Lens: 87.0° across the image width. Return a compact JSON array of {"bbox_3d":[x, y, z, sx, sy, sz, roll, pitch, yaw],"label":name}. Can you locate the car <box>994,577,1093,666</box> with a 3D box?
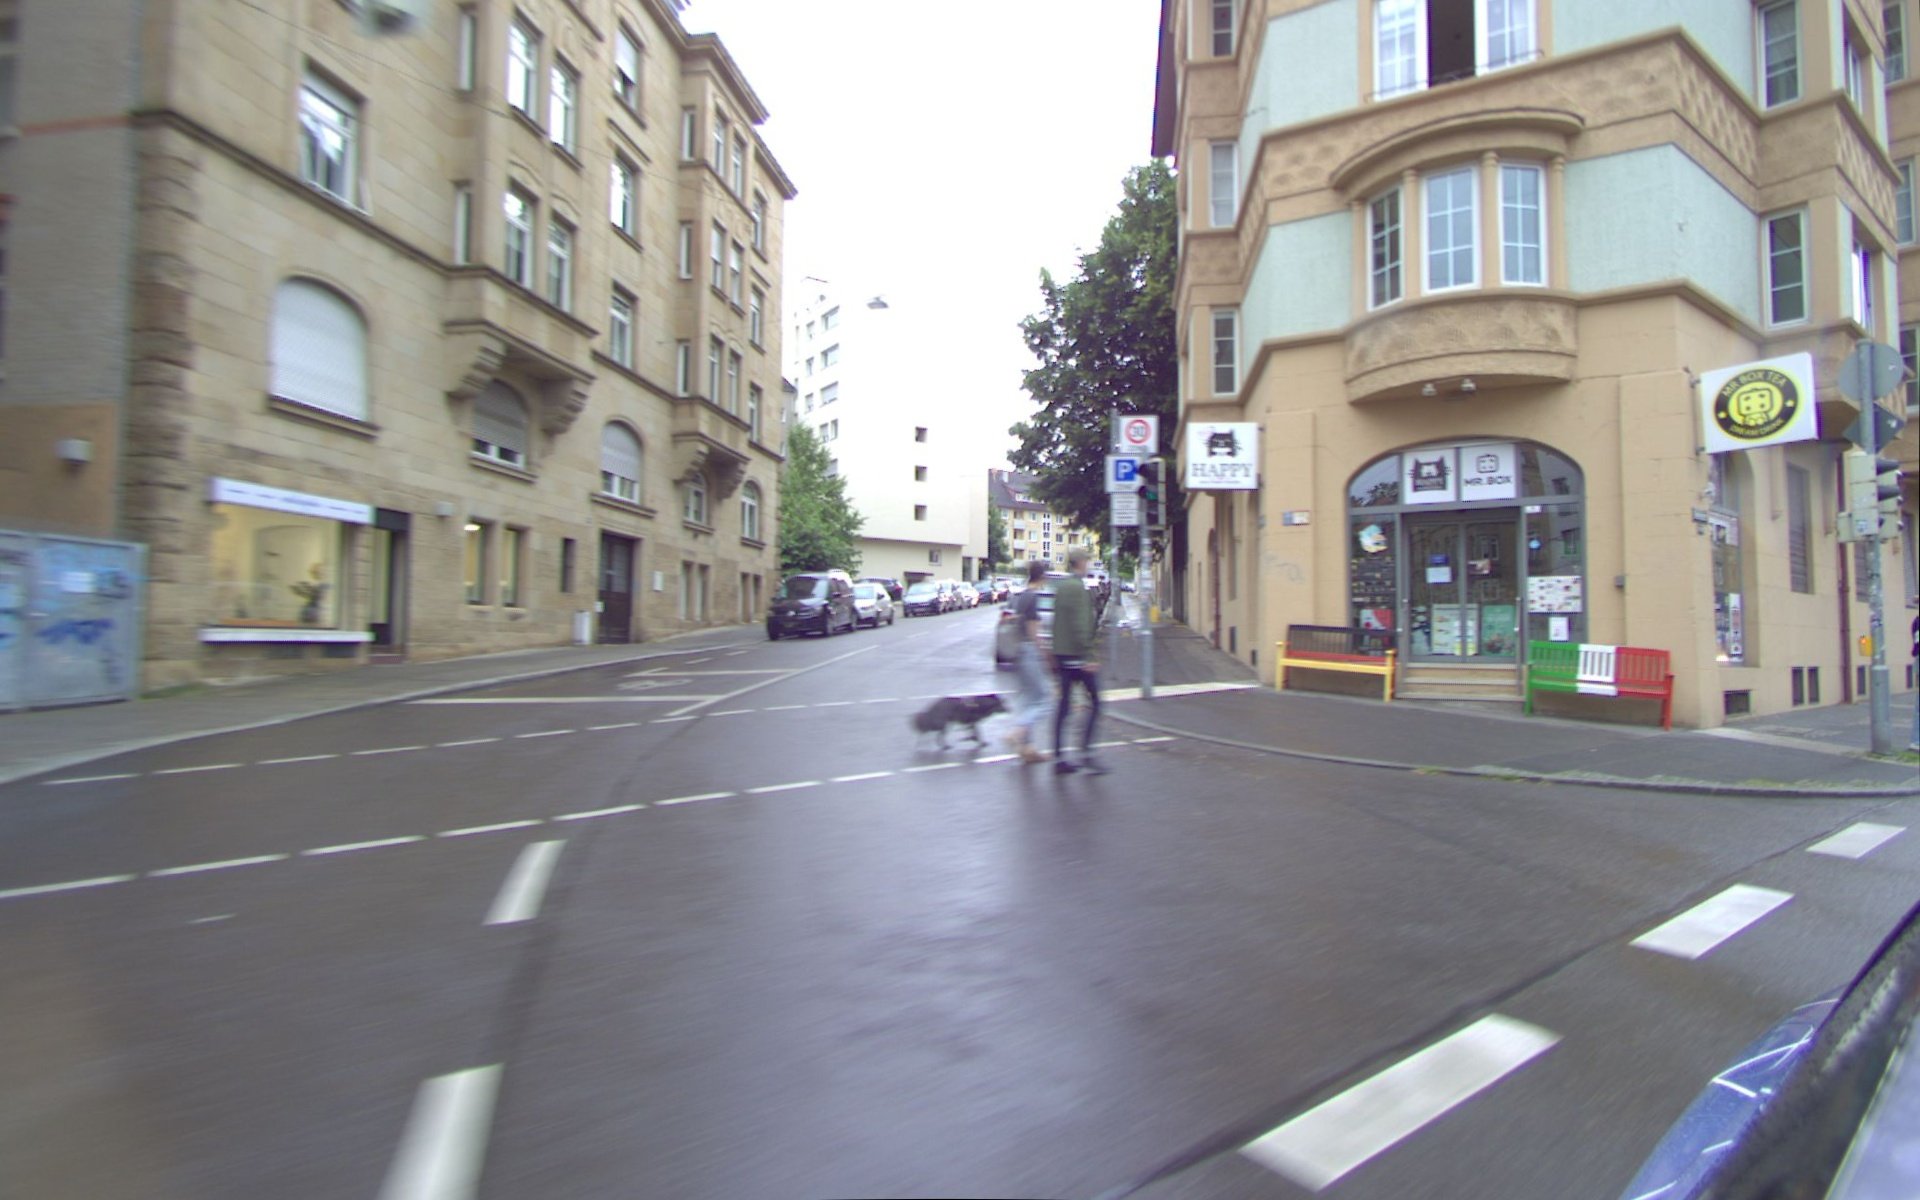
[{"bbox_3d":[1.678,0.363,19.469,1.663,1.478,3.526,2,0,8],"label":"car"}]

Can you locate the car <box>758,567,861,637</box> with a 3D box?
[{"bbox_3d":[-4.176,0.029,28.776,1.717,1.747,4.348,-3,0,7],"label":"car"}]

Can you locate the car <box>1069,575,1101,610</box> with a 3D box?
[{"bbox_3d":[6.108,-0.349,49.190,1.422,1.594,3.277,-3,0,8],"label":"car"}]

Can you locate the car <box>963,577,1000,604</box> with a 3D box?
[{"bbox_3d":[1.392,-0.575,64.157,1.718,1.528,3.990,-5,-1,9],"label":"car"}]

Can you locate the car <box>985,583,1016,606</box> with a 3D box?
[{"bbox_3d":[2.955,-0.382,73.809,1.718,1.528,3.990,-5,-1,9],"label":"car"}]

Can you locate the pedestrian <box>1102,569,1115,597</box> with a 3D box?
[{"bbox_3d":[11.308,-1.279,77.062,0.930,2.040,1.307,-1,-2,6],"label":"pedestrian"}]

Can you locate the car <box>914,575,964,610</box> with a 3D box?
[{"bbox_3d":[-1.010,-0.344,50.226,1.718,1.528,3.990,-5,-1,9],"label":"car"}]

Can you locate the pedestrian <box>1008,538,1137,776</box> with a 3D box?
[{"bbox_3d":[0.919,0.429,8.224,0.875,1.811,0.595,1,0,-41],"label":"pedestrian"}]

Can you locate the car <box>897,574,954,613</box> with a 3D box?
[{"bbox_3d":[-1.501,-0.284,45.293,1.718,1.528,3.990,-5,-1,9],"label":"car"}]

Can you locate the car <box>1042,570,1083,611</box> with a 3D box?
[{"bbox_3d":[4.007,-0.352,39.331,1.422,1.443,3.291,-3,0,8],"label":"car"}]

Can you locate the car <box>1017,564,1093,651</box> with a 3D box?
[{"bbox_3d":[2.341,0.166,24.233,1.578,1.868,3.547,-3,0,8],"label":"car"}]

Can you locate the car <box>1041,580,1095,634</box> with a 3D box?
[{"bbox_3d":[3.099,0.188,28.736,1.422,1.443,3.291,-1,0,8],"label":"car"}]

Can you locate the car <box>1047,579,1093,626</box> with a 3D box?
[{"bbox_3d":[3.788,0.077,34.638,1.422,1.443,3.291,-3,0,8],"label":"car"}]

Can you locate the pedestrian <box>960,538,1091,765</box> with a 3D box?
[{"bbox_3d":[0.562,0.406,8.643,0.886,1.811,0.683,1,0,-41],"label":"pedestrian"}]

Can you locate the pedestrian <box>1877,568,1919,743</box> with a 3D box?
[{"bbox_3d":[10.725,0.607,10.967,0.886,1.863,0.968,1,1,-37],"label":"pedestrian"}]

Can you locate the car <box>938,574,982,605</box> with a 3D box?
[{"bbox_3d":[0.026,-0.561,55.516,1.718,1.528,3.990,-5,-1,9],"label":"car"}]

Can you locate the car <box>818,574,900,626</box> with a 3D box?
[{"bbox_3d":[-3.352,-0.008,34.331,1.718,1.528,3.990,-5,-1,9],"label":"car"}]
